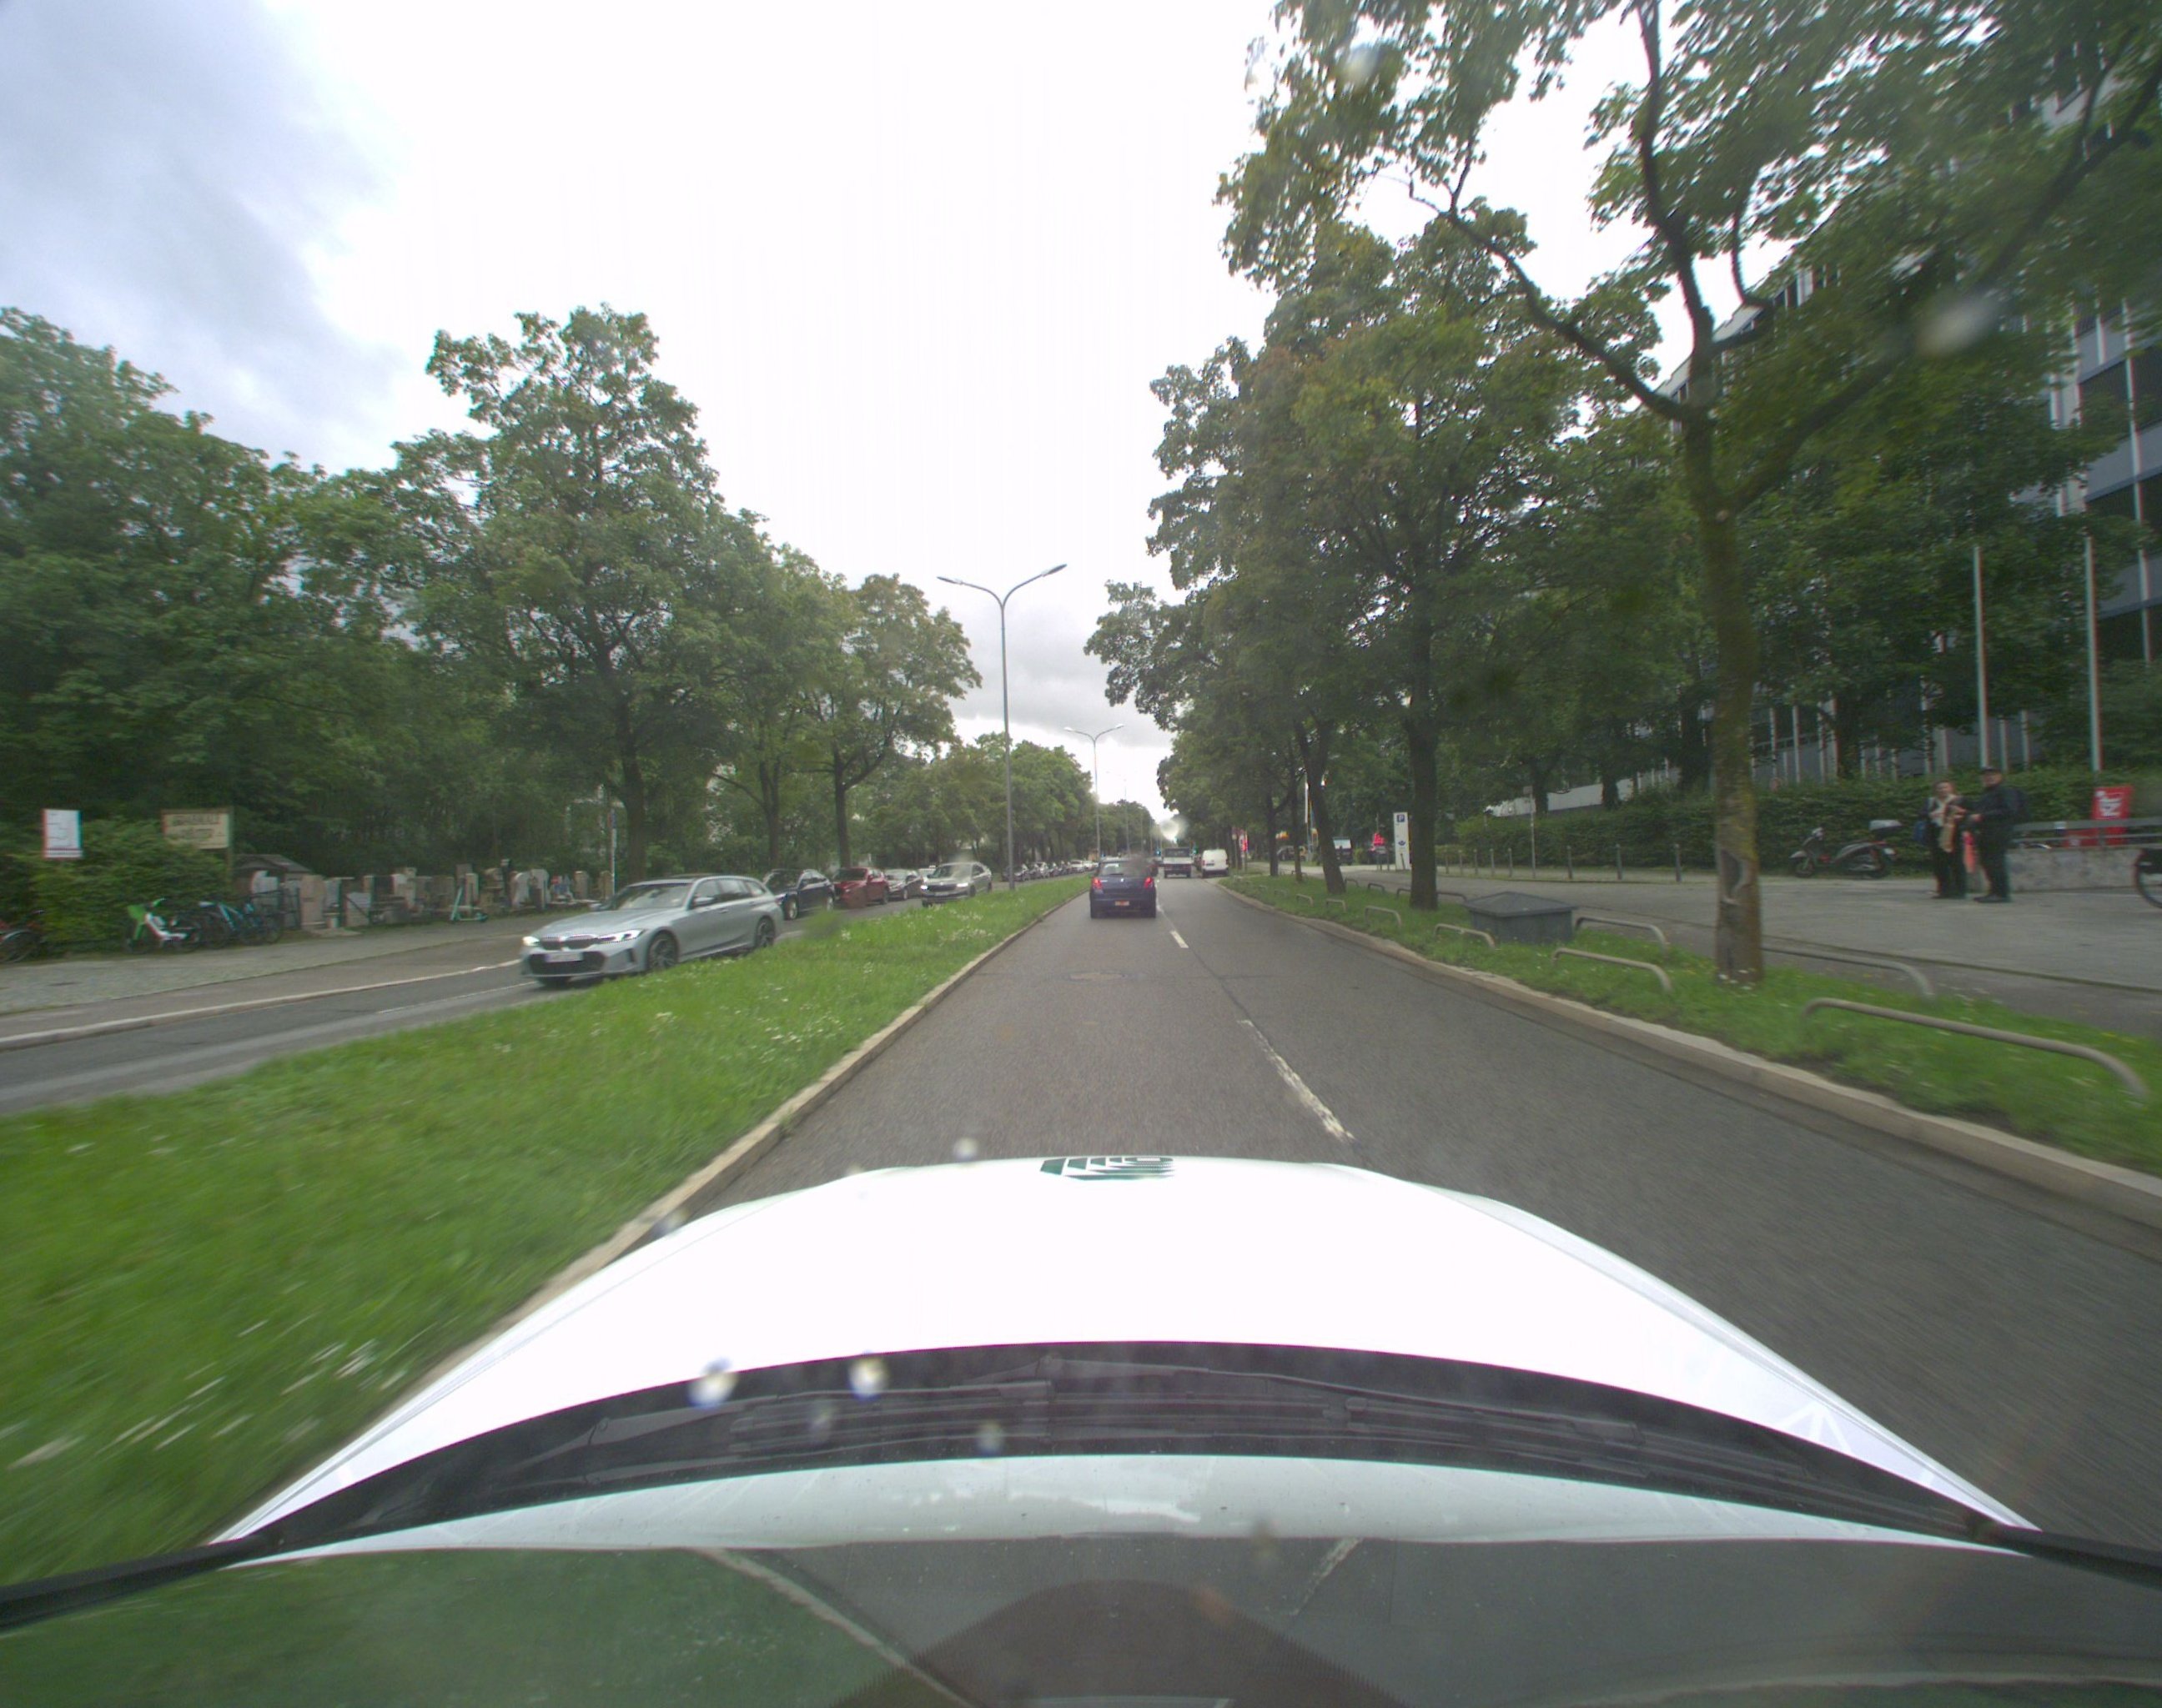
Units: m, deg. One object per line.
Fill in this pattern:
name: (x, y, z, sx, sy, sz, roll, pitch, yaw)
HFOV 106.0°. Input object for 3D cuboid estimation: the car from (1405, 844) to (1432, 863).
car: (26.673, -0.026, 64.292, 1.766, 1.374, 3.988, -2, 0, 25)

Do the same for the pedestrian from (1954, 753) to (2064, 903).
pedestrian: (12.322, -0.326, 10.842, 0.645, 1.899, 0.753, -3, -1, 24)

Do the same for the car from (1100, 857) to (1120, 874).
car: (4.242, 1.614, 117.683, 2.198, 2.194, 5.810, -4, -1, 7)

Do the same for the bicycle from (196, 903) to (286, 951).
bicycle: (-19.473, 1.687, 18.885, 1.753, 1.007, 0.437, -3, -1, 6)

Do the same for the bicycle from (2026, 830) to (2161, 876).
bicycle: (20.438, -0.033, 16.496, 0.556, 0.853, 1.775, -3, 1, 2)

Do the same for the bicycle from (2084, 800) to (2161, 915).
bicycle: (11.981, 0.038, 8.659, 0.527, 1.226, 1.867, -5, 1, 11)

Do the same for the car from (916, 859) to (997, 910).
car: (-4.500, 1.069, 30.103, 1.757, 1.624, 4.385, -3, -1, 7)

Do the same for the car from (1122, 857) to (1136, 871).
car: (7.390, 1.496, 124.300, 1.771, 2.029, 4.827, -3, -1, 7)

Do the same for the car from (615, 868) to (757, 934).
car: (-10.849, 1.239, 22.689, 1.637, 1.614, 3.828, -1, 0, 9)

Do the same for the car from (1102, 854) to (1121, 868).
car: (3.639, 0.830, 97.230, 1.824, 1.642, 4.359, -3, -1, 7)

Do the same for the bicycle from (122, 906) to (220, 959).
bicycle: (-19.400, 1.669, 17.369, 1.753, 1.007, 0.437, -3, -1, 6)

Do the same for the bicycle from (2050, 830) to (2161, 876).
bicycle: (21.036, -0.037, 16.575, 0.556, 0.853, 1.775, -3, 1, 2)

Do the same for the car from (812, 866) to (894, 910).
car: (-9.364, 1.349, 33.907, 1.730, 1.651, 4.613, 0, 0, 5)

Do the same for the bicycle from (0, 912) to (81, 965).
bicycle: (-22.347, 1.779, 16.864, 0.575, 1.007, 2.036, -3, 0, 8)

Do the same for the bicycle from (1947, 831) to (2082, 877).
bicycle: (18.987, -0.018, 16.634, 0.680, 0.853, 1.836, -3, 1, 2)

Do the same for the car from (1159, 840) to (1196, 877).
car: (6.972, 0.319, 58.597, 2.405, 2.444, 5.099, -1, 0, 9)

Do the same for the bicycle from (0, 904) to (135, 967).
bicycle: (-21.208, 1.660, 16.896, 0.575, 1.099, 2.036, -3, 0, 8)

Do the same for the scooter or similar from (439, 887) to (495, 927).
scooter or similar: (-18.695, 1.611, 24.829, 0.431, 1.127, 1.296, -3, -1, 19)

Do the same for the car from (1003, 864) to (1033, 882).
car: (-5.111, 1.532, 66.524, 1.572, 1.423, 4.370, 0, 0, 6)

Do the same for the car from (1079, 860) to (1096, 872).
car: (0.998, 1.721, 114.053, 1.822, 1.609, 4.501, 0, 0, 8)

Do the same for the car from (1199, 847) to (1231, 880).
car: (9.654, 0.646, 58.870, 1.976, 2.157, 5.567, -3, -1, 7)

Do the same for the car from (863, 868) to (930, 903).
car: (-8.746, 1.453, 38.974, 1.729, 1.483, 4.342, 0, 0, 7)

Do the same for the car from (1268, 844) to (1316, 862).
car: (26.184, -0.112, 101.217, 5.442, 2.083, 2.151, -2, -1, 6)

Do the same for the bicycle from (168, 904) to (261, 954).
bicycle: (-19.406, 1.678, 18.244, 1.753, 1.007, 0.437, -3, -1, 6)

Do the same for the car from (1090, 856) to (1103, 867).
car: (2.401, 1.153, 127.032, 1.682, 1.565, 3.084, -3, 0, 5)

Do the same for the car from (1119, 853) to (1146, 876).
car: (3.672, 0.717, 57.609, 1.791, 1.499, 3.664, -3, 0, 4)

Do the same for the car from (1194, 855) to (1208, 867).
car: (16.763, 0.978, 113.361, 1.769, 1.511, 4.295, -4, -1, 9)

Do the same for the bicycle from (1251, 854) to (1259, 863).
bicycle: (23.891, 0.634, 111.751, 0.744, 1.183, 2.251, -3, -1, 7)

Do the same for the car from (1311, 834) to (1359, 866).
car: (20.298, -0.298, 65.398, 2.254, 2.306, 6.277, -3, -1, 5)

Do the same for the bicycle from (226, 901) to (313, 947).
bicycle: (-19.408, 1.671, 19.476, 1.753, 1.007, 0.437, -3, -1, 6)

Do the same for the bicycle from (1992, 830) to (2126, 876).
bicycle: (19.797, -0.026, 16.549, 0.550, 0.853, 1.836, -3, 1, 2)

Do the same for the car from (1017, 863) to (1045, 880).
car: (-4.414, 1.552, 72.386, 1.616, 1.423, 4.201, 0, 0, 8)

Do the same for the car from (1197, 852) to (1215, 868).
car: (13.503, 0.640, 88.035, 1.802, 1.675, 4.812, -3, -1, 9)

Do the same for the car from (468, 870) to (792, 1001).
car: (-6.585, 1.088, 12.733, 1.905, 1.484, 4.873, -3, -1, 6)

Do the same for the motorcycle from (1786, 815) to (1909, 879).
motorcycle: (17.084, -0.132, 18.228, 0.548, 1.318, 2.068, -3, -1, -8)

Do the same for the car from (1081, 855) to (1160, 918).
car: (1.102, 0.808, 21.716, 1.888, 1.499, 3.664, -1, 0, 4)

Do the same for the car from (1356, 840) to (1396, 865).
car: (23.713, -0.131, 65.599, 1.833, 1.818, 4.478, -3, -1, 5)

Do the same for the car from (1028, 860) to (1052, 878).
car: (-3.850, 1.422, 76.835, 1.616, 1.648, 3.876, 0, 0, 8)

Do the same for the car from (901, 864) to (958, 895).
car: (-8.083, 1.350, 43.816, 1.729, 1.530, 4.484, -1, 0, 7)

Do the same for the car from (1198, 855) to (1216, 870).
car: (12.873, 0.844, 82.869, 1.691, 1.408, 4.525, -3, -1, 10)

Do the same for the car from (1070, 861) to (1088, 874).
car: (-0.255, 1.659, 103.950, 1.748, 1.595, 4.497, 0, 0, 6)

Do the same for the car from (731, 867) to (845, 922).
car: (-10.008, 1.331, 28.272, 1.729, 1.643, 4.694, -1, 0, 7)

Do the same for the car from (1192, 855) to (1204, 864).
car: (19.566, 0.930, 136.265, 1.751, 1.453, 4.642, -4, -1, 7)

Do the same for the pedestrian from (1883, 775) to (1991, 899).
pedestrian: (12.522, -0.237, 11.946, 0.776, 1.714, 0.754, -3, -1, 20)

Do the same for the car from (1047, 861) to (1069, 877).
car: (-2.416, 1.593, 87.565, 1.676, 1.597, 4.219, 0, 0, 8)

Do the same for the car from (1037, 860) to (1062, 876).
car: (-3.161, 1.408, 82.013, 1.707, 1.524, 5.043, 0, 0, 7)
